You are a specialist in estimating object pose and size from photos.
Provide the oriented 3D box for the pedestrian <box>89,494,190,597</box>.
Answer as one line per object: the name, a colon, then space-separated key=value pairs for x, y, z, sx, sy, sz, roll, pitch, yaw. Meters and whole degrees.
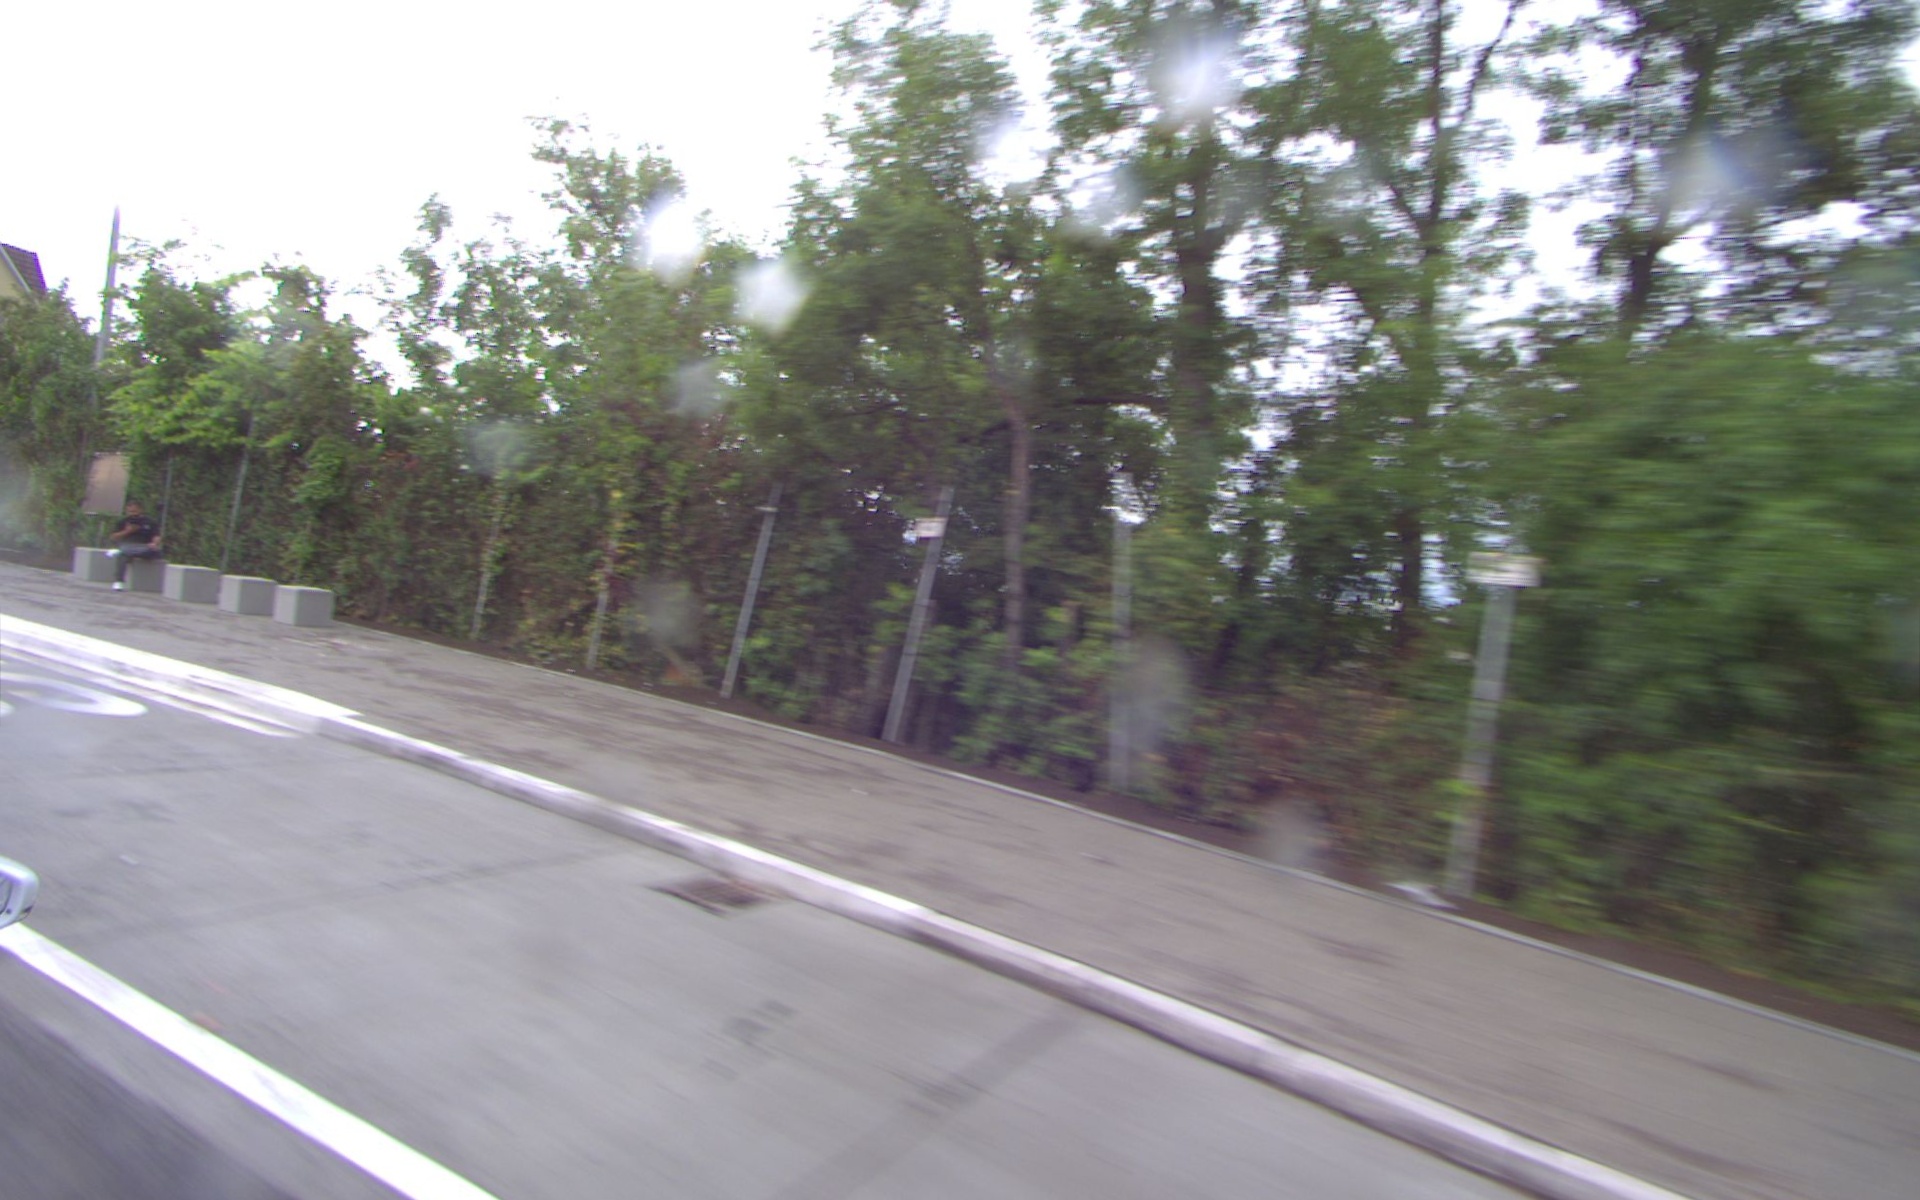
pedestrian: x=-12.796 y=-0.853 z=15.689 sx=1.049 sy=1.384 sz=0.879 roll=10 pitch=1 yaw=38
